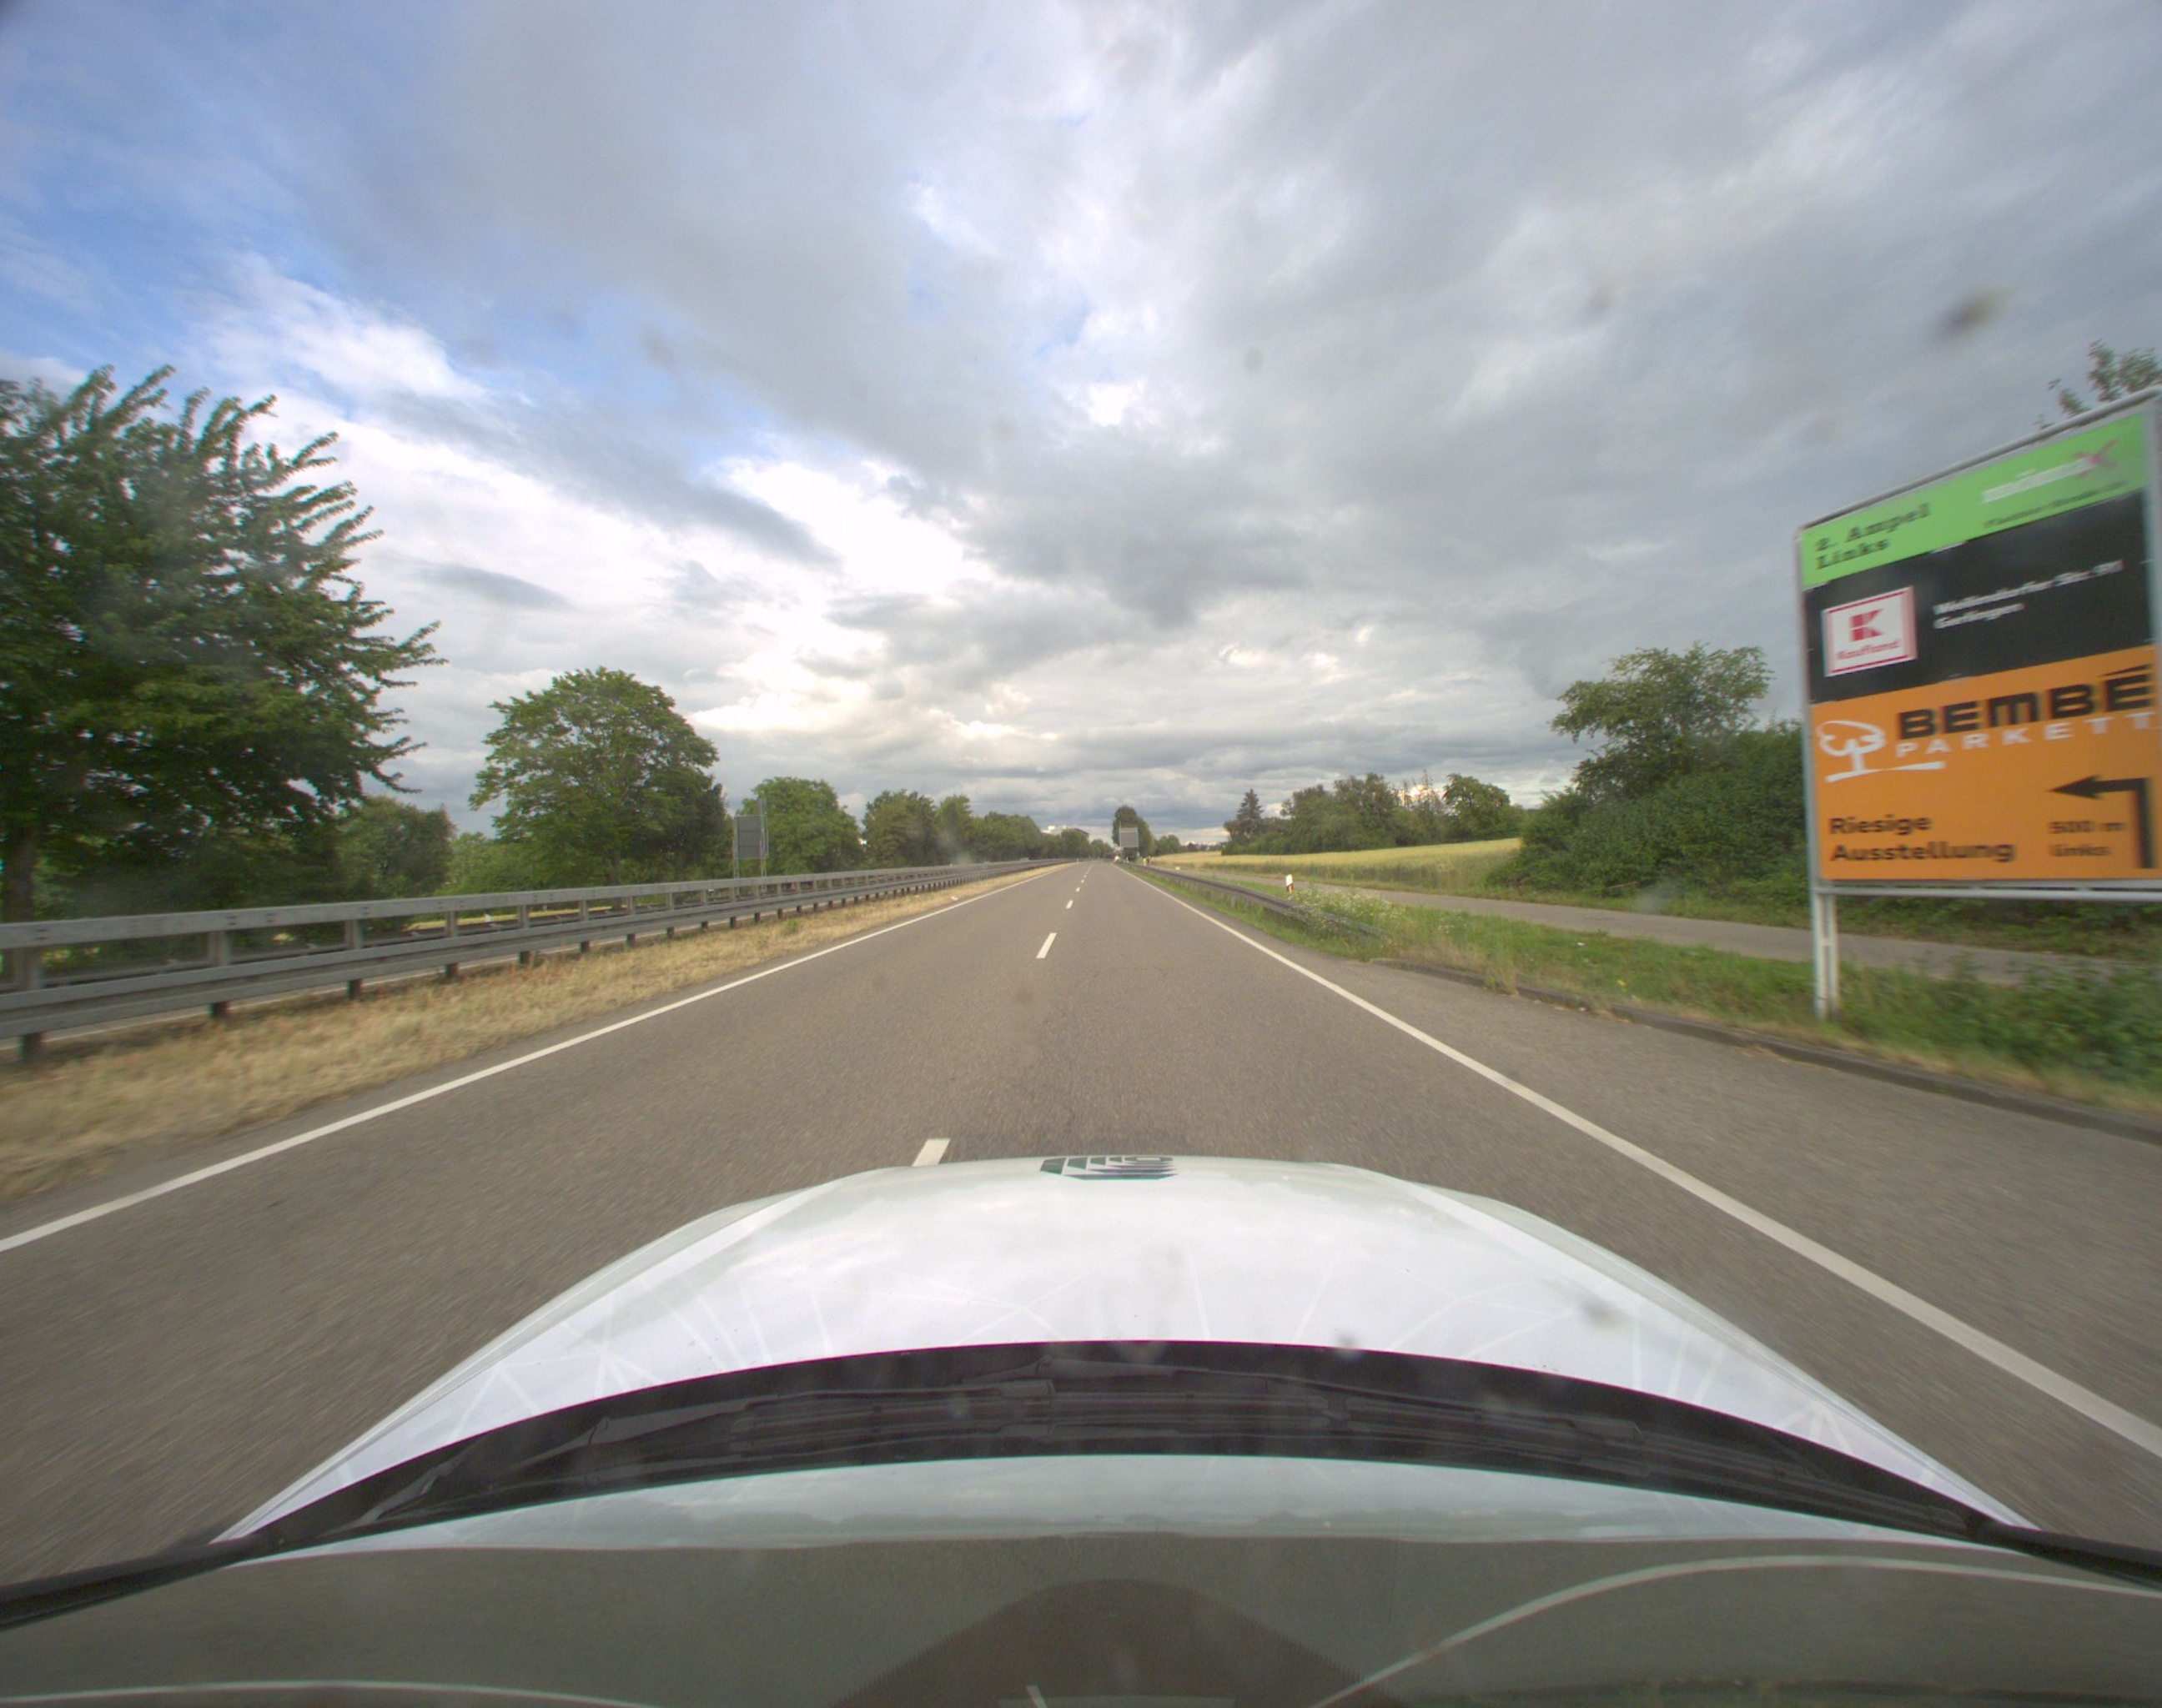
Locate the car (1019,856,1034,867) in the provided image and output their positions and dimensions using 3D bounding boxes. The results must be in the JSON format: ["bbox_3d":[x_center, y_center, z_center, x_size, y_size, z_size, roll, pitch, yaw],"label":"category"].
[{"bbox_3d":[-8.701,1.251,130.049,1.790,1.625,4.486,-3,0,2],"label":"car"}]

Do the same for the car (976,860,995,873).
[{"bbox_3d":[-13.210,1.708,112.614,1.790,1.625,4.486,-3,0,2],"label":"car"}]

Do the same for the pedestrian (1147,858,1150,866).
[{"bbox_3d":[14.596,1.706,175.641,0.600,1.666,0.542,0,-1,-1],"label":"pedestrian"}]
